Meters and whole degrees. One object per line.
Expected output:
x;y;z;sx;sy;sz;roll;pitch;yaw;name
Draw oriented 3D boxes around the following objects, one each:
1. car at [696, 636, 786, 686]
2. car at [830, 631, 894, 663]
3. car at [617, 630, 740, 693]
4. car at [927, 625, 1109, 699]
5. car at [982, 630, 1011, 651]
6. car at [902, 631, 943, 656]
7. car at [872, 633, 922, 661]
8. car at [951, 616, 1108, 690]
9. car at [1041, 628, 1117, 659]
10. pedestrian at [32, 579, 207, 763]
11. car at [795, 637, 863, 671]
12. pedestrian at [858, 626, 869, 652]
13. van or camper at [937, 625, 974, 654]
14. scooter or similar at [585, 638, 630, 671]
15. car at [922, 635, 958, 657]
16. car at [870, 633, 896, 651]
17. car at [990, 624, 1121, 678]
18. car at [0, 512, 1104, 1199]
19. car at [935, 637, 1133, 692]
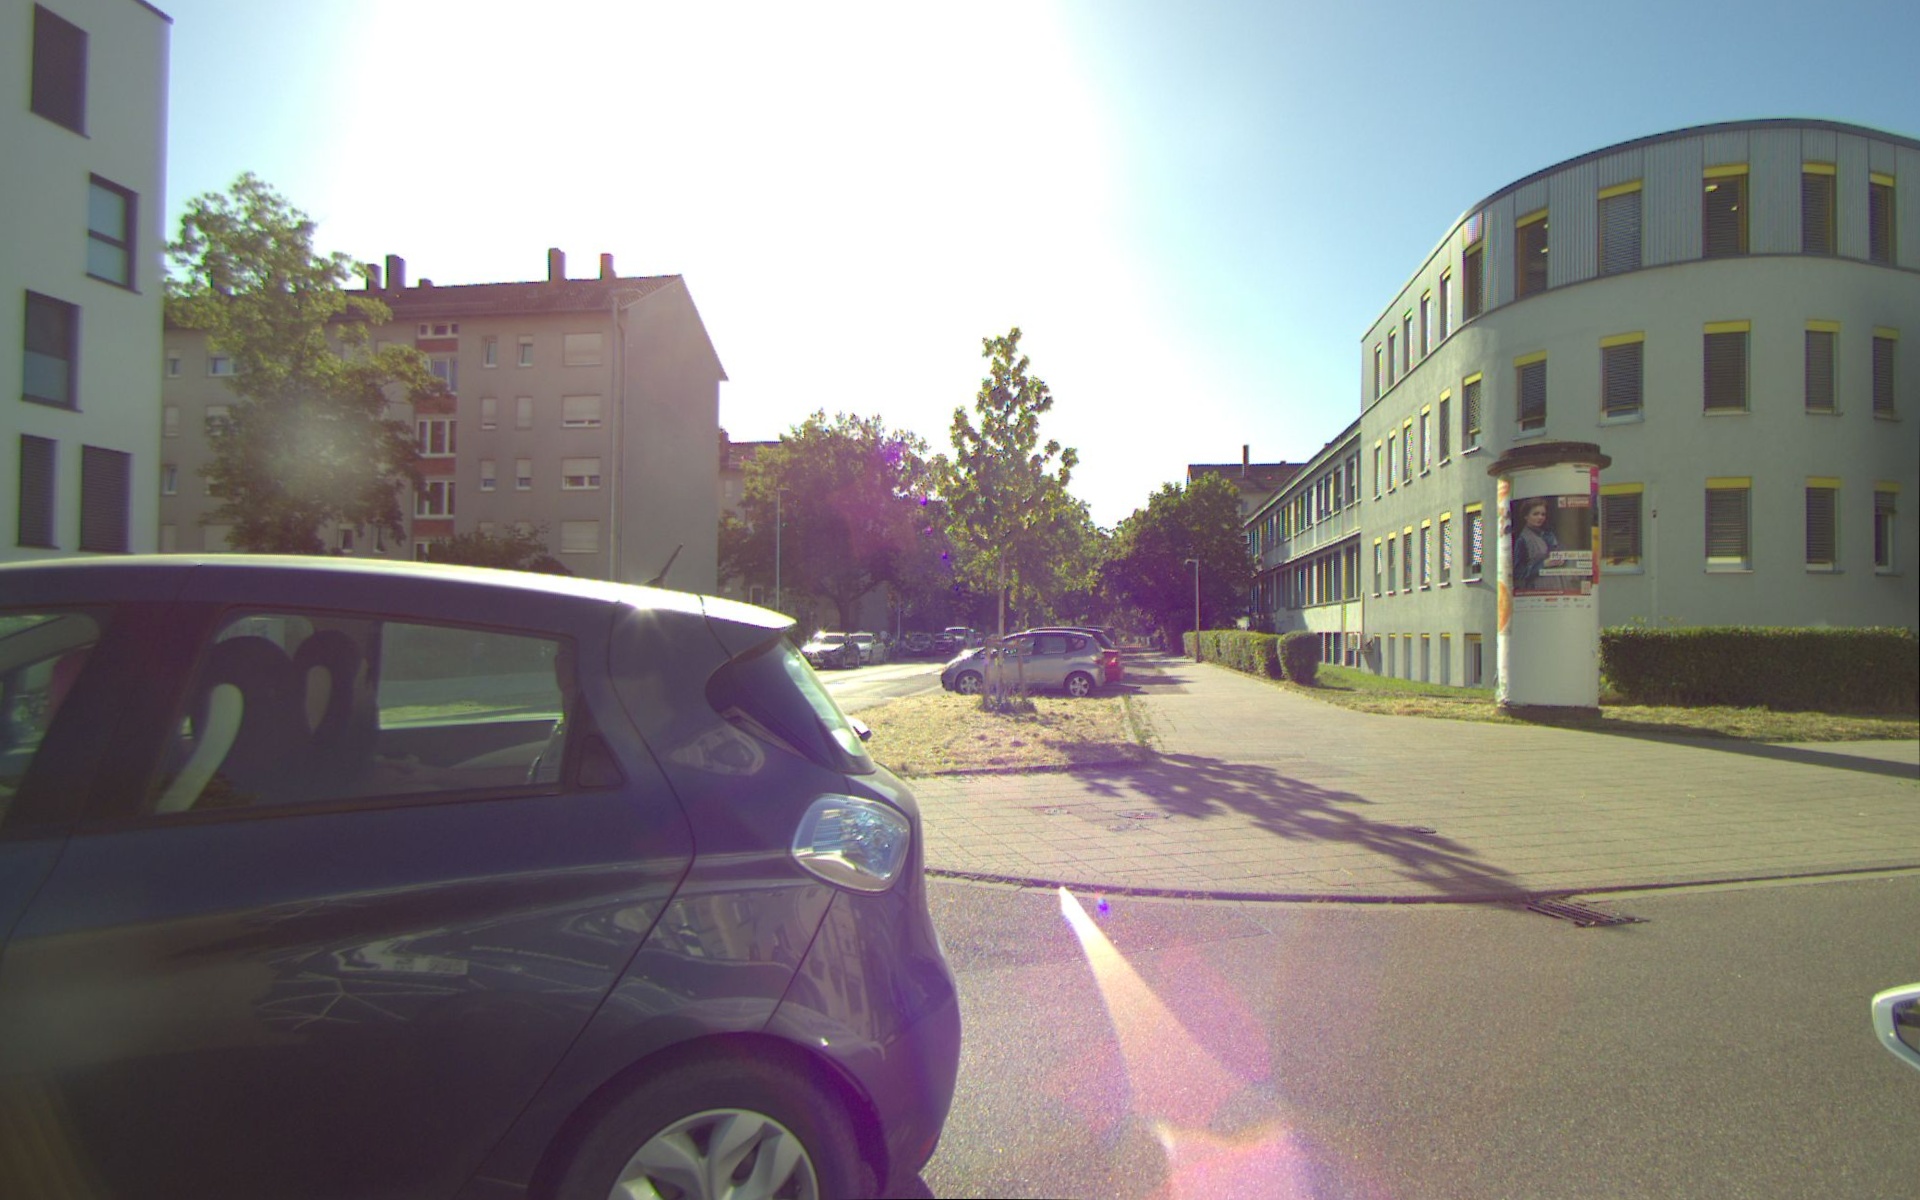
-6.653;1.812;30.894;1.382;1.394;4.003;0;-2;8;car
-4.505;2.185;46.783;1.959;1.416;4.004;1;-2;9;car
-7.221;1.557;26.184;1.639;1.438;4.003;3;-2;6;car
1.359;1.411;23.246;4.019;1.511;1.730;1;-2;5;car
3.818;4.169;103.586;1.960;2.040;4.003;2;-2;16;car
-2.313;2.724;62.622;1.960;1.426;3.911;3;-2;6;car
-3.353;2.513;54.073;1.811;1.416;4.004;1;-2;9;car
1.995;1.492;28.462;4.206;1.787;2.002;3;-2;6;car
6.667;2.446;56.485;4.206;1.721;2.002;0;-2;6;car
-8.363;0.687;10.047;0.856;1.737;0.980;1;-1;5;pedestrian
-5.275;2.186;40.922;1.601;1.250;4.196;3;-2;9;car
-6.513;2.635;67.839;0.623;1.686;0.700;1;-1;3;pedestrian
-0.311;3.062;76.465;1.959;2.040;4.004;3;-3;11;van or camper
-12.111;1.858;34.540;0.522;1.060;1.872;0;-2;12;scooter or similar
-1.353;3.230;70.411;1.811;1.416;4.004;1;-2;9;car
-5.460;2.945;71.352;1.252;1.241;2.665;0;-2;10;car
3.178;1.692;33.535;4.206;1.721;2.002;0;-2;6;car
-1.924;0.637;2.370;4.072;1.523;1.836;3;-2;-17;car
1.855;1.601;25.231;4.787;1.291;1.730;0;-2;4;car
